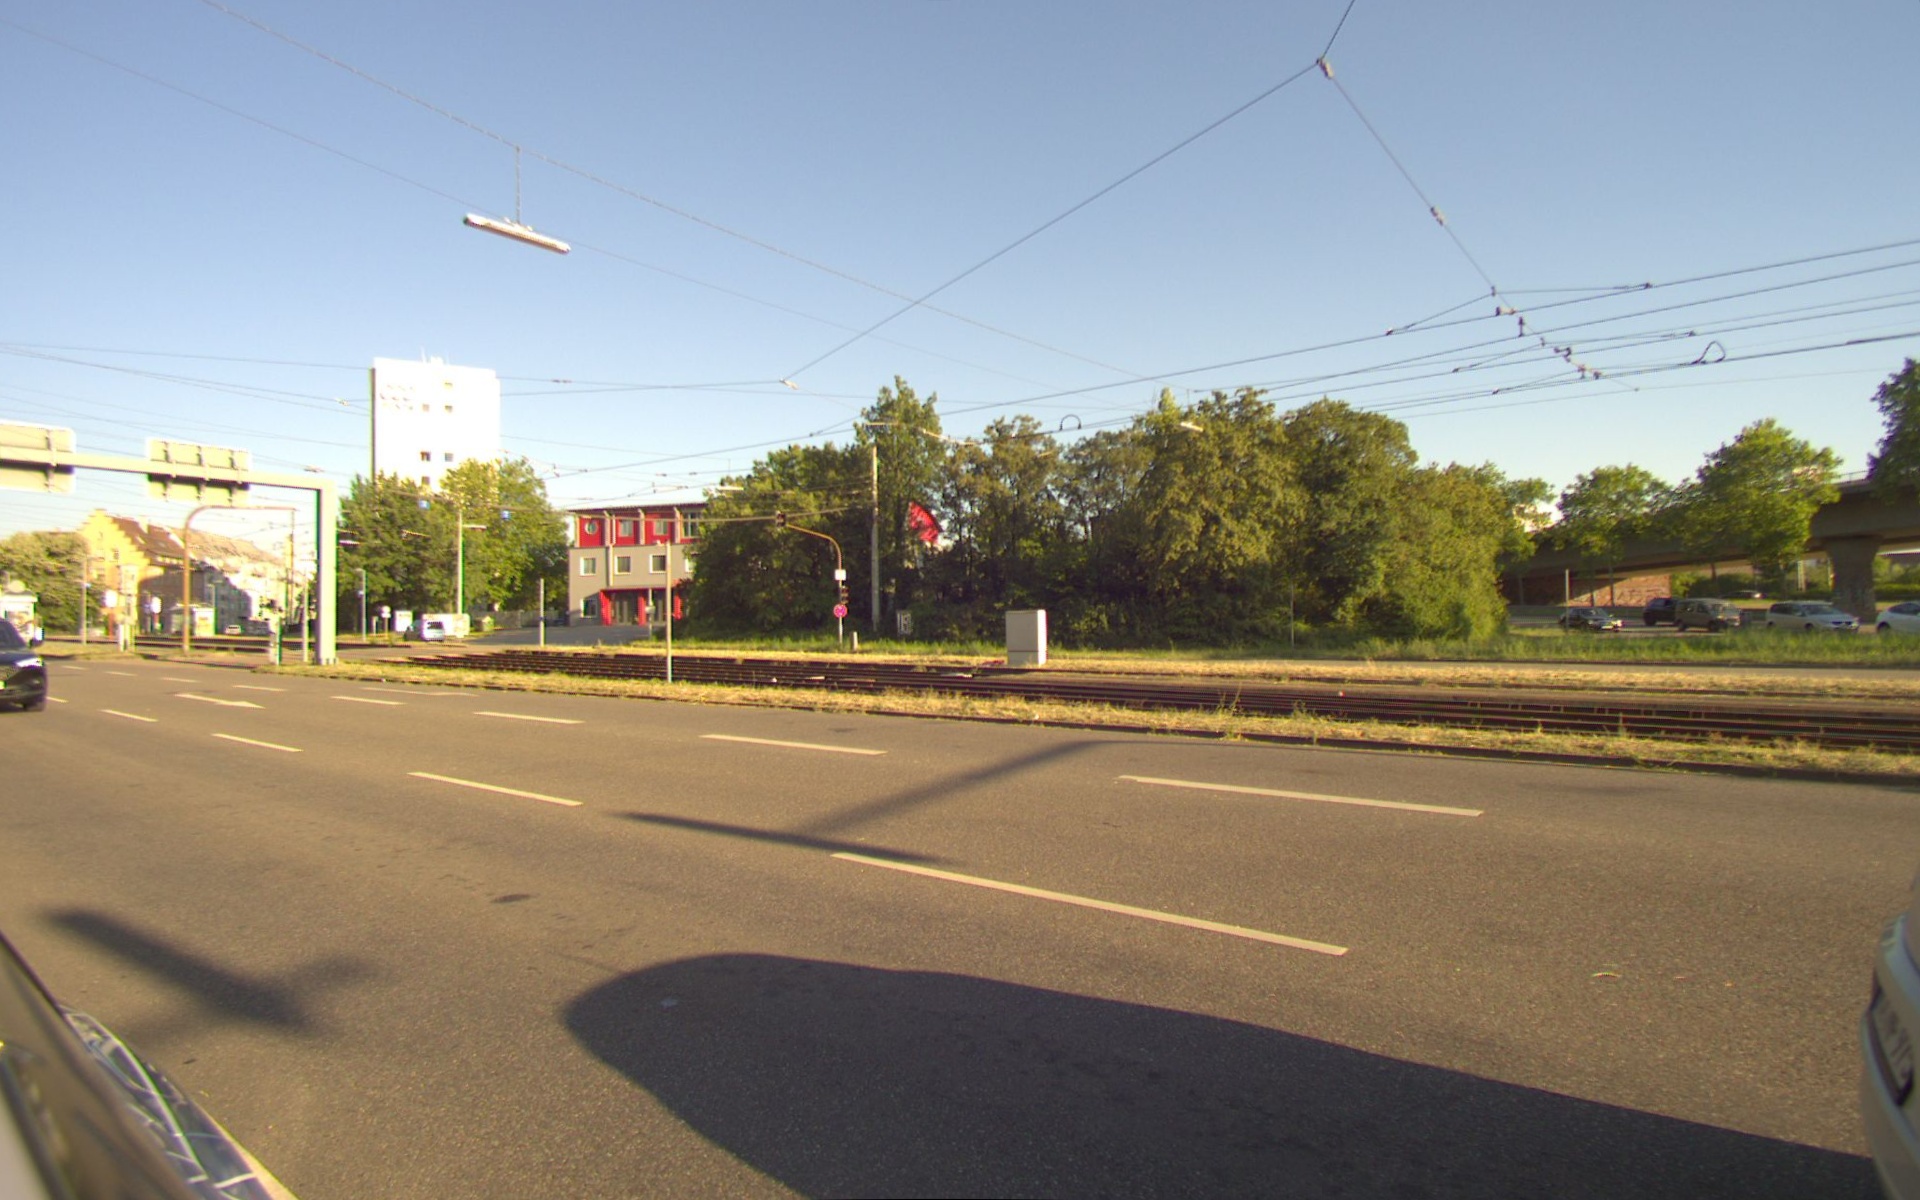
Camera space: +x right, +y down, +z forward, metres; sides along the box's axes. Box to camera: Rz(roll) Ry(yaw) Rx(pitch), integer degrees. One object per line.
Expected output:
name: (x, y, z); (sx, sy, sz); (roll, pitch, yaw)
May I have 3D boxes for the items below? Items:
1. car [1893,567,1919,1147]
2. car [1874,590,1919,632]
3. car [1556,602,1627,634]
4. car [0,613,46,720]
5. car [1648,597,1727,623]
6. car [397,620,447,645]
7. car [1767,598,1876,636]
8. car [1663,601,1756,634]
car: (3.490, 0.612, 0.685); (3.994, 1.517, 1.720); (-2, -3, 38)
car: (38.234, 0.405, 39.319); (1.675, 1.586, 4.752); (-2, 0, 10)
car: (35.933, 1.020, 57.701); (1.735, 1.691, 4.741); (-1, -1, 10)
car: (-17.221, 1.062, 17.255); (4.620, 1.692, 1.795); (0, -1, 40)
car: (44.925, 0.625, 62.626); (1.601, 1.537, 4.413); (-1, -1, 0)
car: (-40.280, 2.458, 75.766); (4.256, 1.801, 1.913); (-2, -3, 41)
car: (39.398, 0.782, 46.424); (1.674, 1.643, 4.277); (-1, -1, 8)
car: (40.280, 0.936, 54.524); (1.670, 1.691, 4.414); (-1, -1, 0)
